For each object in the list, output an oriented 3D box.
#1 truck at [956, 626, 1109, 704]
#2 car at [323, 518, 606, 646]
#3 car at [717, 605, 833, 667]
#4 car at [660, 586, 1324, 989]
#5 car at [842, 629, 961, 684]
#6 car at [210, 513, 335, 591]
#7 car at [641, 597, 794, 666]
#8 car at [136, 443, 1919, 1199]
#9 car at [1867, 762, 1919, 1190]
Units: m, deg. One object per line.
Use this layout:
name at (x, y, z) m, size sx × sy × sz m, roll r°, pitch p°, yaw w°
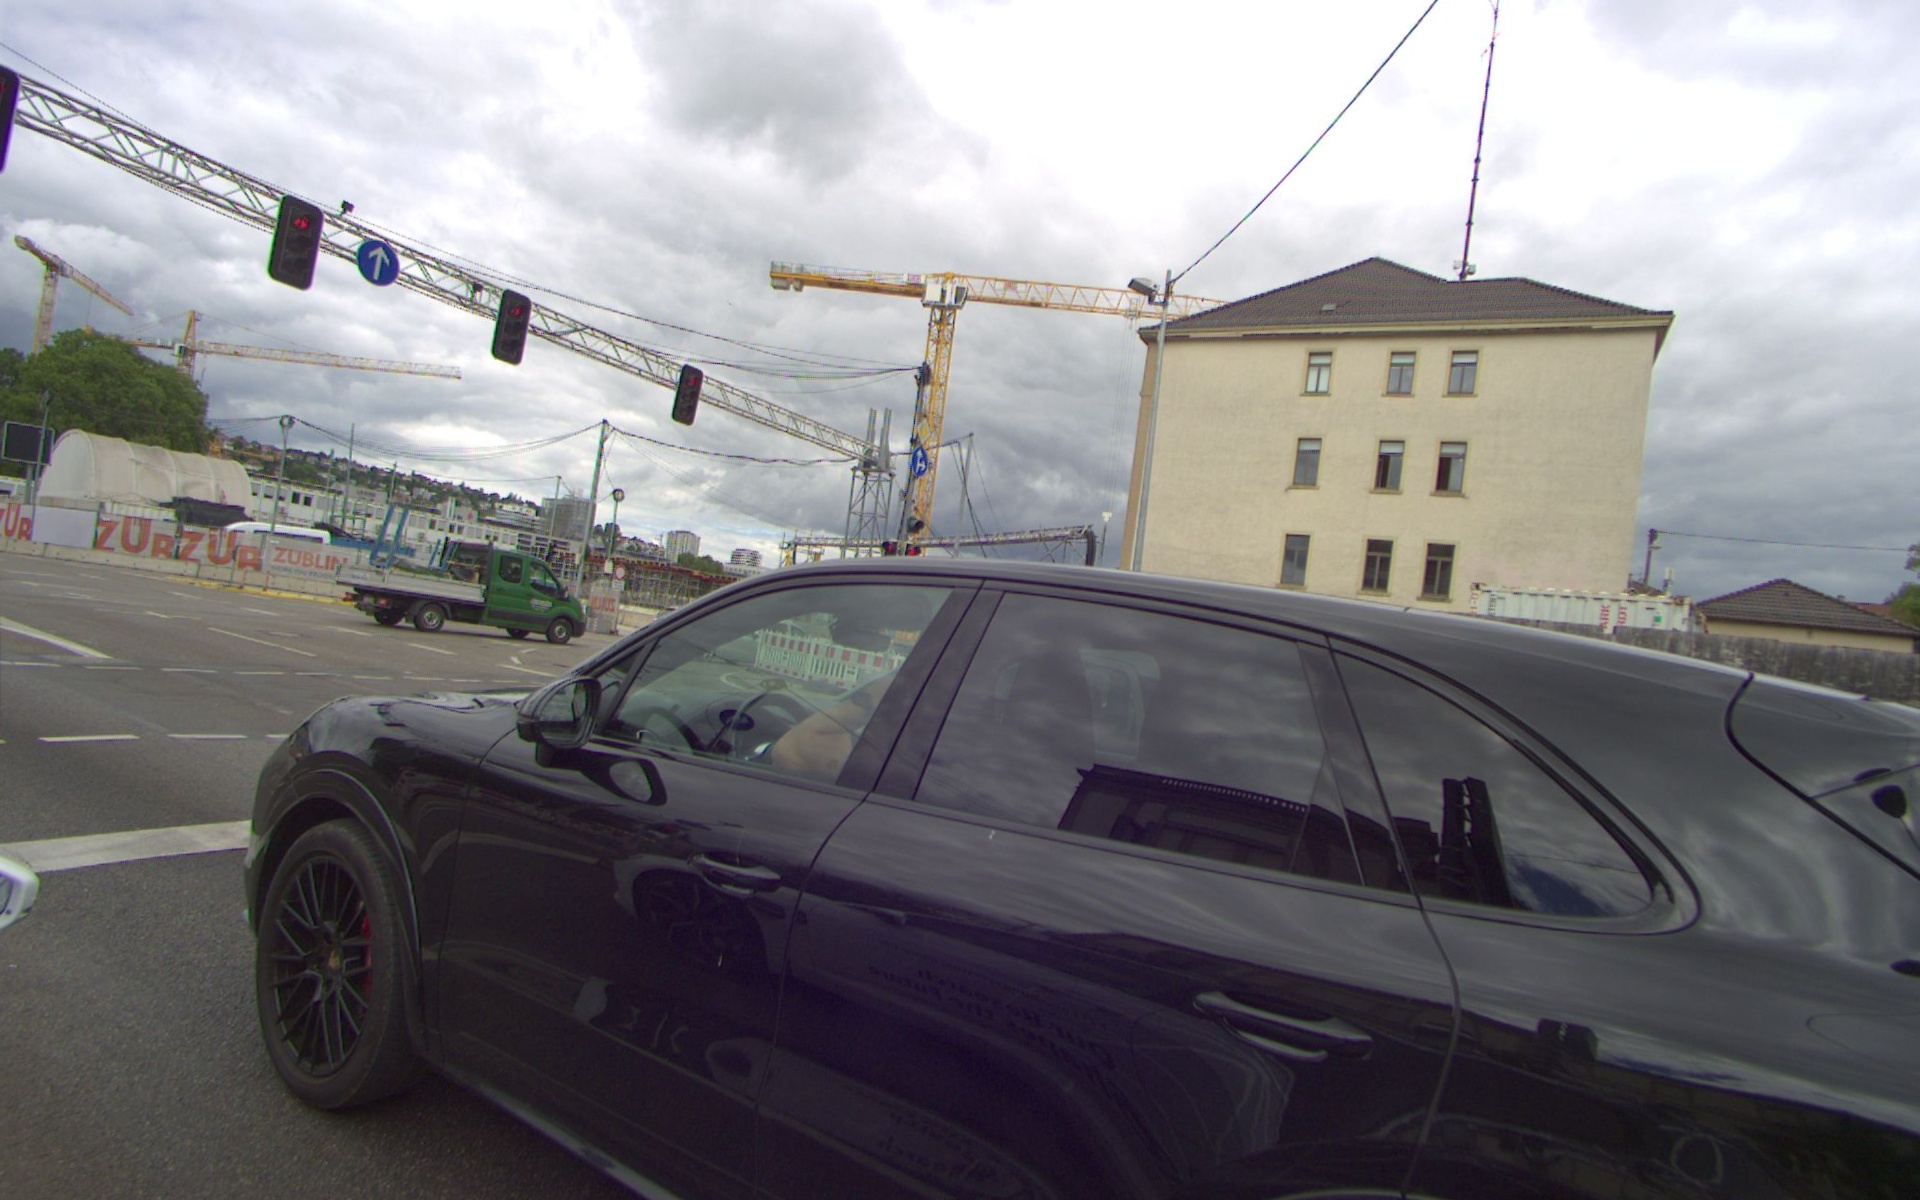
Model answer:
truck at (3.703, 3.247, 48.427) m, size 2.587 × 2.835 × 8.987 m, roll 7°, pitch -3°, yaw 37°
car at (-11.966, -0.321, 24.842) m, size 2.265 × 2.331 × 5.771 m, roll 6°, pitch -2°, yaw 31°
car at (-7.061, 1.423, 38.827) m, size 1.800 × 1.903 × 4.275 m, roll 6°, pitch -2°, yaw 32°
car at (0.113, 0.980, 6.658) m, size 3.934 × 1.644 × 1.679 m, roll 6°, pitch -2°, yaw 32°
car at (-2.175, 2.226, 38.898) m, size 1.988 × 1.643 × 4.816 m, roll 6°, pitch -2°, yaw 33°
car at (-29.573, -2.039, 43.366) m, size 1.660 × 2.692 × 3.979 m, roll 6°, pitch -2°, yaw 45°
car at (-7.504, 1.046, 31.620) m, size 1.654 × 1.643 × 4.719 m, roll 6°, pitch -2°, yaw 32°
car at (-0.050, 0.677, 2.661) m, size 4.410 × 1.735 × 1.828 m, roll 6°, pitch -2°, yaw 32°
car at (5.764, 1.680, 2.564) m, size 4.729 × 1.644 × 1.828 m, roll 6°, pitch -2°, yaw 32°
